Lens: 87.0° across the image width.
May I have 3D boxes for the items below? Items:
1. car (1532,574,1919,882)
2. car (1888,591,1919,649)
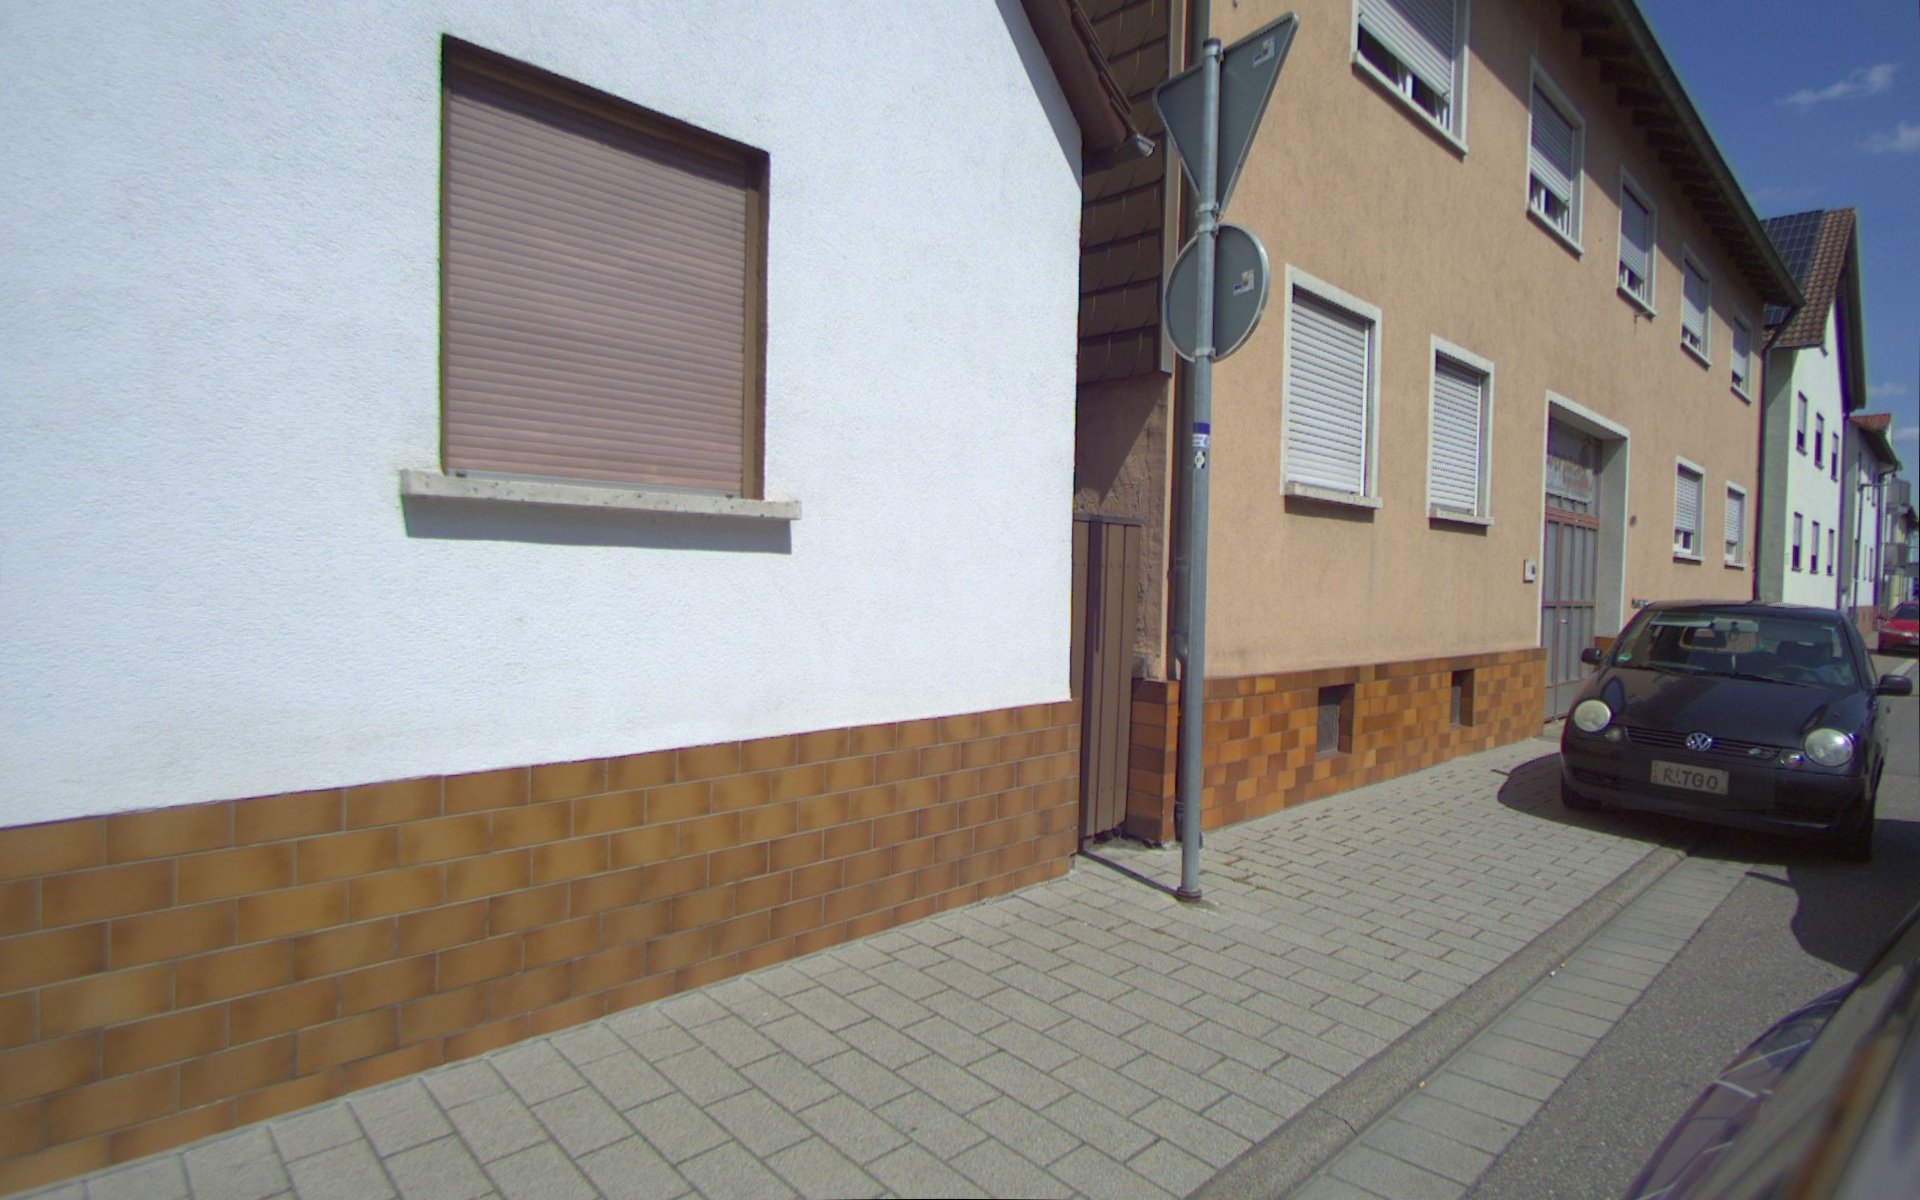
[{"bbox_3d":[5.486,0.642,7.000,3.570,1.481,1.688,0,4,-45],"label":"car"},{"bbox_3d":[25.996,0.524,26.887,4.120,1.446,1.761,0,2,-45],"label":"car"}]
